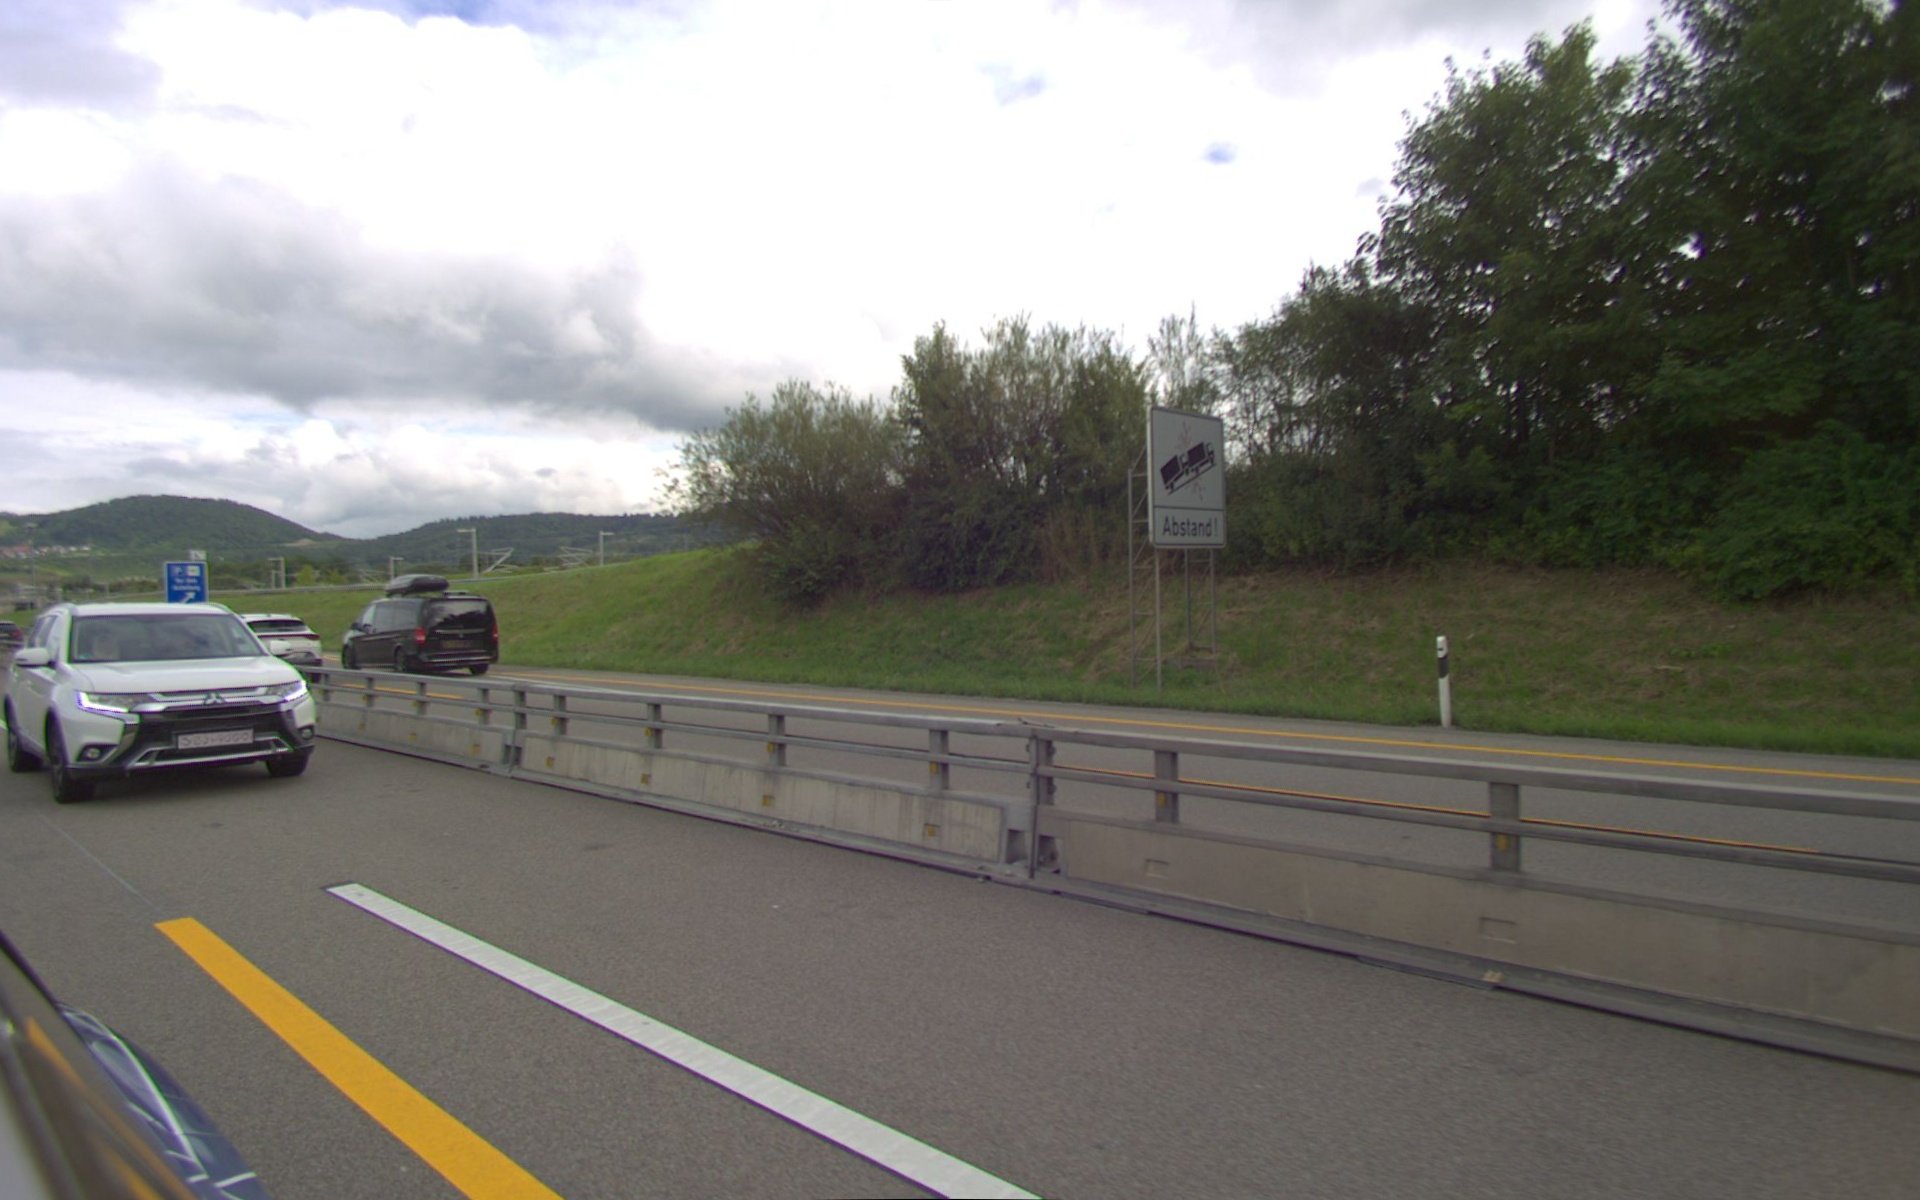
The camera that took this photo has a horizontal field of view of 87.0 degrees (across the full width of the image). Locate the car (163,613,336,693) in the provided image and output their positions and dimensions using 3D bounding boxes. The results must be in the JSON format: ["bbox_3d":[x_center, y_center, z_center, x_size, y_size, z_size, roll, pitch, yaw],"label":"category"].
[{"bbox_3d":[-15.496,1.086,21.982,4.666,1.532,1.973,-1,-1,41],"label":"car"}]

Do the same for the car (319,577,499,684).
[{"bbox_3d":[-13.030,0.681,23.783,5.045,2.270,1.974,-1,0,40],"label":"car"}]

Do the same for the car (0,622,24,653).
[{"bbox_3d":[-48.553,1.863,50.760,4.587,1.480,1.916,-2,-1,42],"label":"car"}]

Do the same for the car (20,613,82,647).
[{"bbox_3d":[-52.247,1.704,58.141,4.930,1.805,1.973,-1,0,40],"label":"car"}]

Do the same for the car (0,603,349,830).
[{"bbox_3d":[-7.692,0.887,9.620,4.605,1.640,1.972,-1,-1,42],"label":"car"}]
